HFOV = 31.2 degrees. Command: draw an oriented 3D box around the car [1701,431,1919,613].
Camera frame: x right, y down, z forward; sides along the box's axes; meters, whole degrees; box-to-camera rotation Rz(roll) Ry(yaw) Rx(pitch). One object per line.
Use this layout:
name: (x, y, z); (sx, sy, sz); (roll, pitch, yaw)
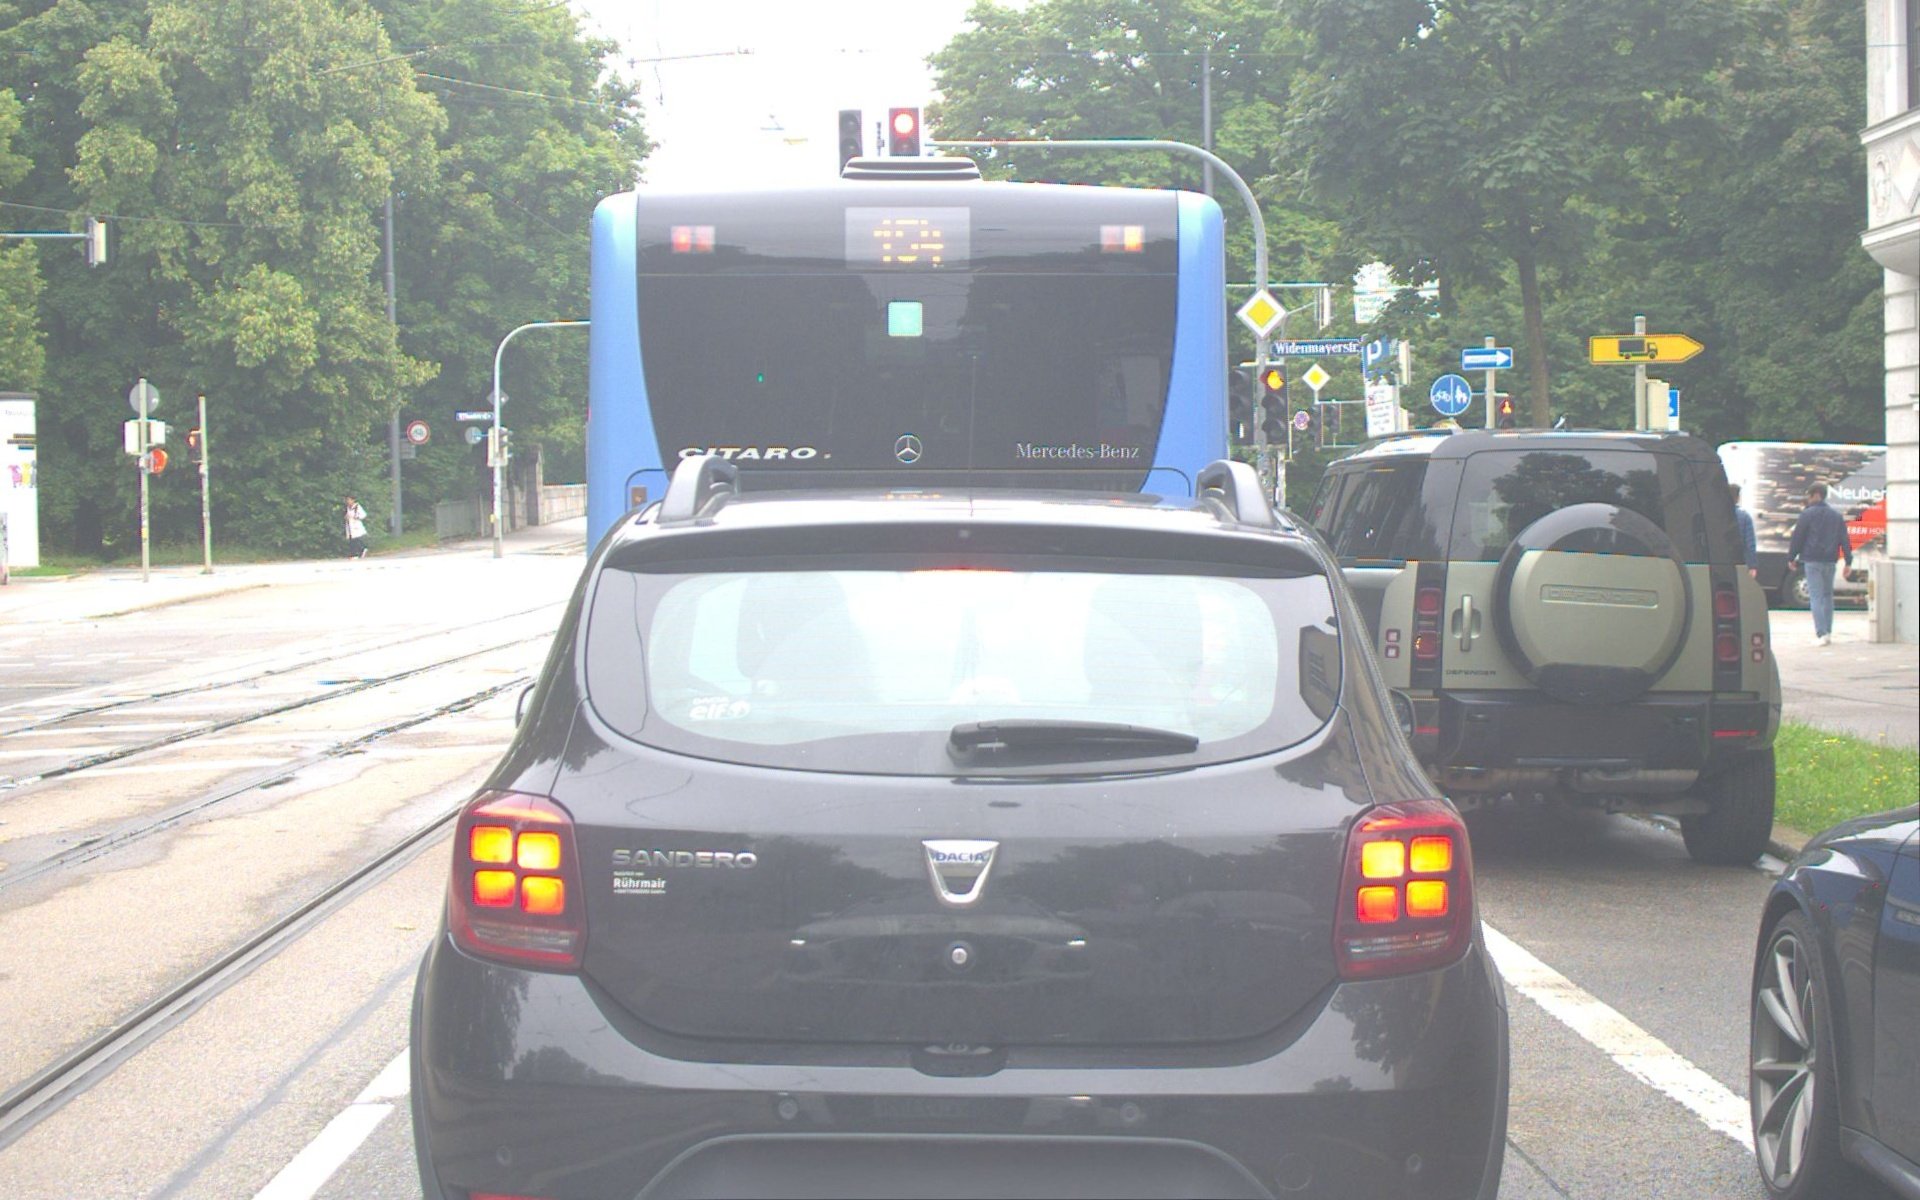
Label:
car: (14.023, -1.130, 51.419); (5.295, 2.603, 2.231); (1, 1, -3)

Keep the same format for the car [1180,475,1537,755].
car: (2.444, 0.046, 22.068); (1.714, 1.586, 4.327); (1, 1, -1)

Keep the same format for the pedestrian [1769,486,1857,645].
pedestrian: (9.404, -0.385, 37.926); (0.705, 1.726, 0.843); (1, 1, -1)

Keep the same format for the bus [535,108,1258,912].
bus: (-0.384, -0.401, 16.495); (2.678, 2.987, 6.962); (1, 1, -2)

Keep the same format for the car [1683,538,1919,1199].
car: (2.638, 0.625, 5.880); (1.716, 1.421, 4.603); (1, 1, -1)

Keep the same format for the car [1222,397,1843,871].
car: (2.522, 0.097, 16.444); (1.914, 1.899, 4.809); (1, 1, -3)

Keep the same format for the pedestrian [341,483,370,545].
pedestrian: (-14.668, -2.079, 83.443); (0.532, 1.496, 0.588); (1, 1, 4)

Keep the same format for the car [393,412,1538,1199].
car: (-0.031, 0.493, 6.639); (1.600, 1.551, 3.525); (1, 1, -1)

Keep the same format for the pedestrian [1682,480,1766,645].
pedestrian: (8.556, -0.420, 38.524); (0.705, 1.810, 0.870); (1, 1, -1)
